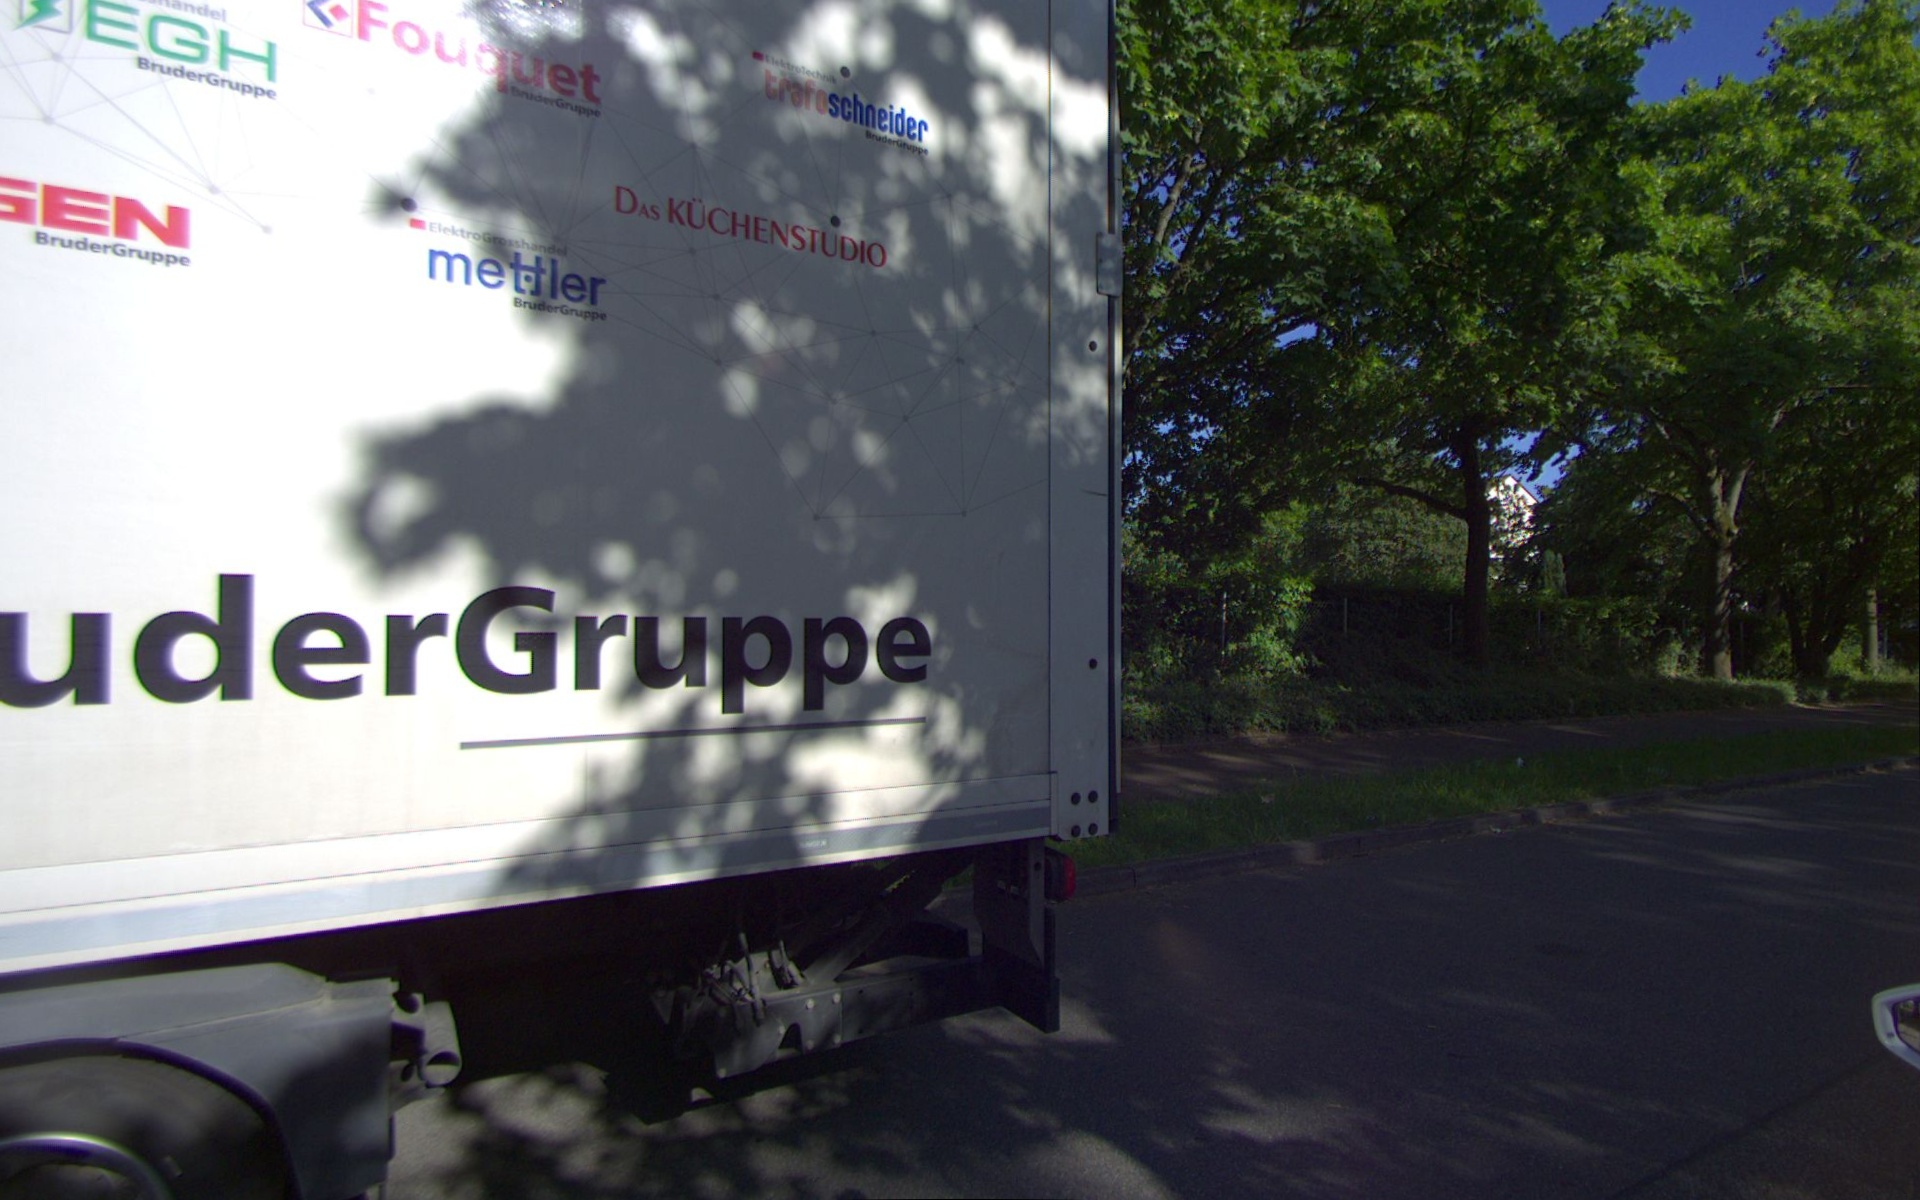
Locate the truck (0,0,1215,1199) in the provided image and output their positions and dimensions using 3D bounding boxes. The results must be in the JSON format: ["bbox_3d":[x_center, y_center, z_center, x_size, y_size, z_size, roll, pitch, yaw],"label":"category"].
[{"bbox_3d":[-3.392,-0.366,1.939,8.009,3.689,2.720,2,-1,-31],"label":"truck"}]
